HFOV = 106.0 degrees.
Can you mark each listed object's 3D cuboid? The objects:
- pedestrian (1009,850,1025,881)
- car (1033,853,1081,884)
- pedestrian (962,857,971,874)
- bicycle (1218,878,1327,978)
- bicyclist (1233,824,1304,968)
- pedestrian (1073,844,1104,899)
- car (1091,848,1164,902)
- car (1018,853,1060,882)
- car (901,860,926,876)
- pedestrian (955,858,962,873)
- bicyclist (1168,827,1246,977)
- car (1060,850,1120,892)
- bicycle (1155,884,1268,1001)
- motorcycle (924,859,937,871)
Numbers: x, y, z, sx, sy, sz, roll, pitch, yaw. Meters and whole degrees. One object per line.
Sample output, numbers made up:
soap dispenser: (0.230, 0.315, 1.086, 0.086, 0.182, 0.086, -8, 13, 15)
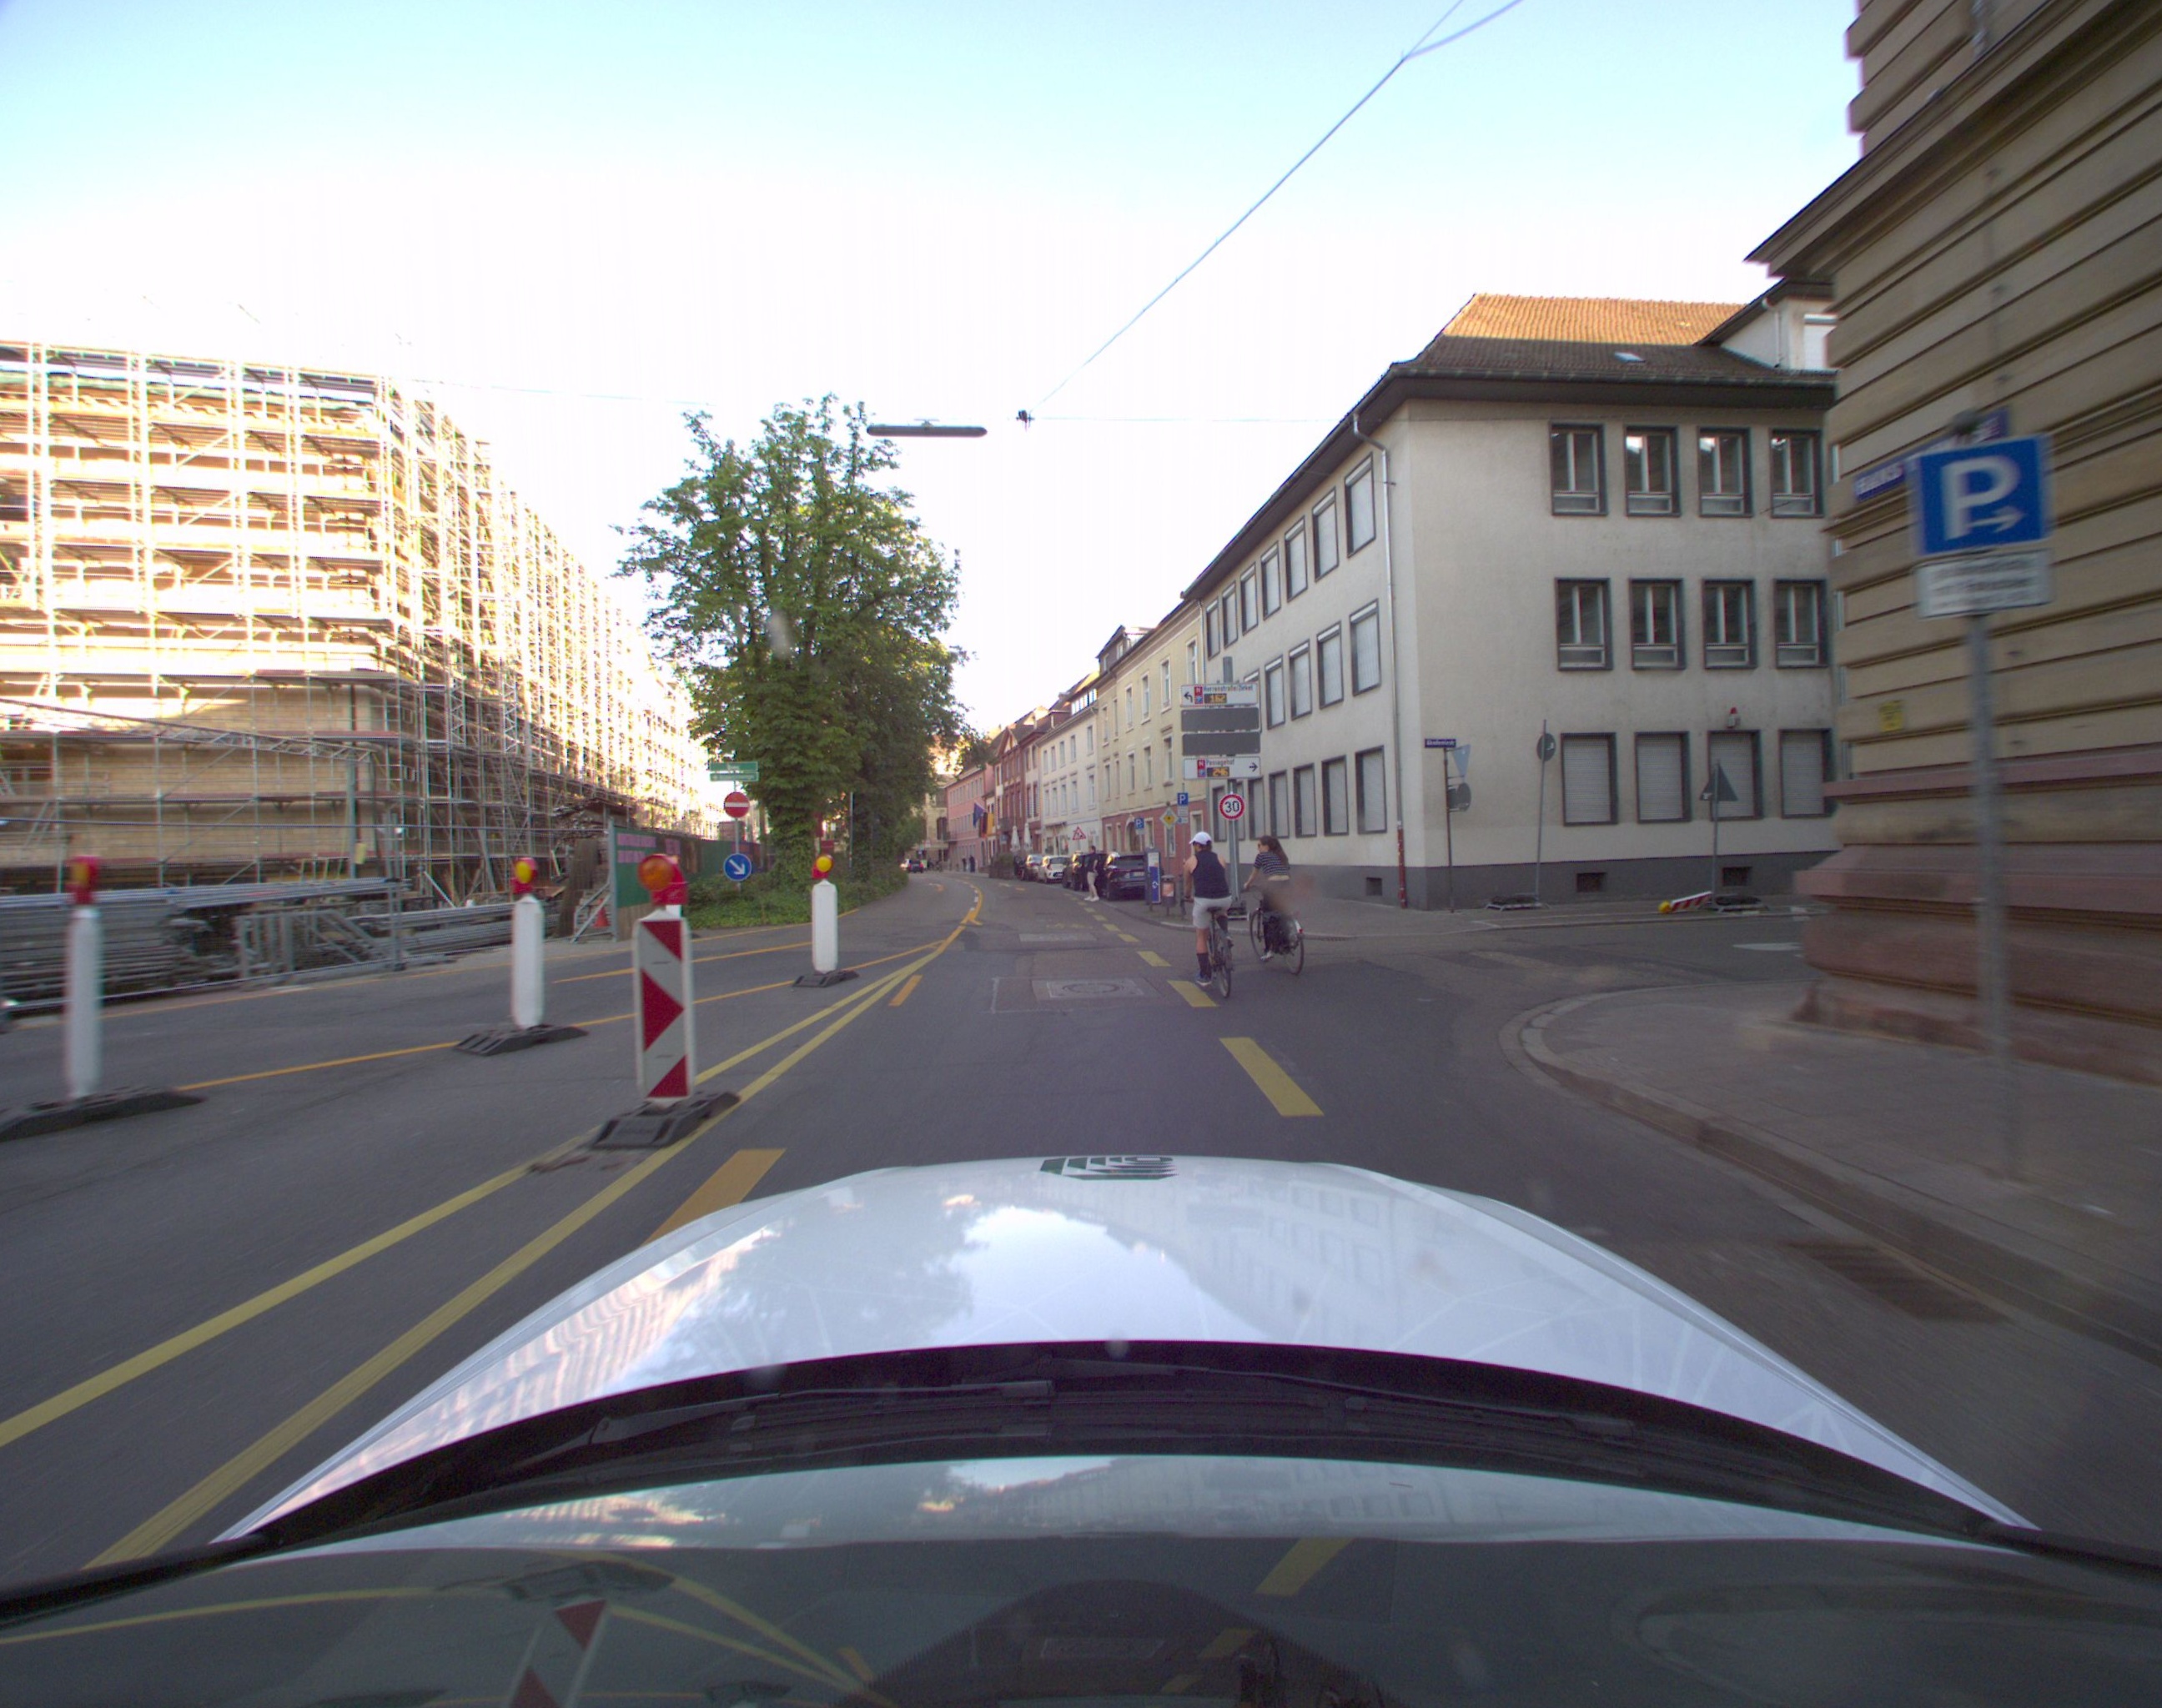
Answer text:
pedestrian: (-3.870, 0.664, 49.039, 0.827, 1.844, 0.958, -1, 0, 3)
car: (-1.334, 0.760, 44.118, 1.815, 1.560, 3.847, -2, 0, -14)
pedestrian: (-11.987, 1.177, 85.214, 0.751, 1.762, 0.582, -2, 0, -16)
bicycle: (2.373, 0.873, 10.401, 0.652, 1.071, 2.253, 0, 0, -6)
bicyclist: (2.375, 0.509, 10.397, 0.649, 1.760, 0.862, 0, 0, -6)
pedestrian: (0.256, 0.603, 28.514, 0.900, 1.866, 0.929, -2, 0, -11)
car: (1.522, 0.670, 28.123, 1.811, 1.682, 3.910, -2, 0, -7)
car: (-2.529, 0.782, 48.491, 1.815, 1.560, 3.847, -2, 0, -14)
car: (-17.607, 1.447, 85.353, 1.820, 1.560, 3.834, -2, 0, -24)
pedestrian: (-12.965, 1.192, 86.008, 0.669, 1.581, 0.582, -2, 0, -16)
bicyclist: (1.365, 0.501, 8.898, 0.668, 1.566, 0.696, 0, 0, -9)
car: (0.331, 0.720, 36.076, 1.814, 1.684, 3.983, -2, 0, -12)
bicycle: (1.367, 0.896, 8.901, 0.669, 1.071, 1.895, 0, 0, -9)
motorcycle: (-16.916, 1.236, 91.455, 1.044, 1.248, 2.383, -2, 0, -18)
